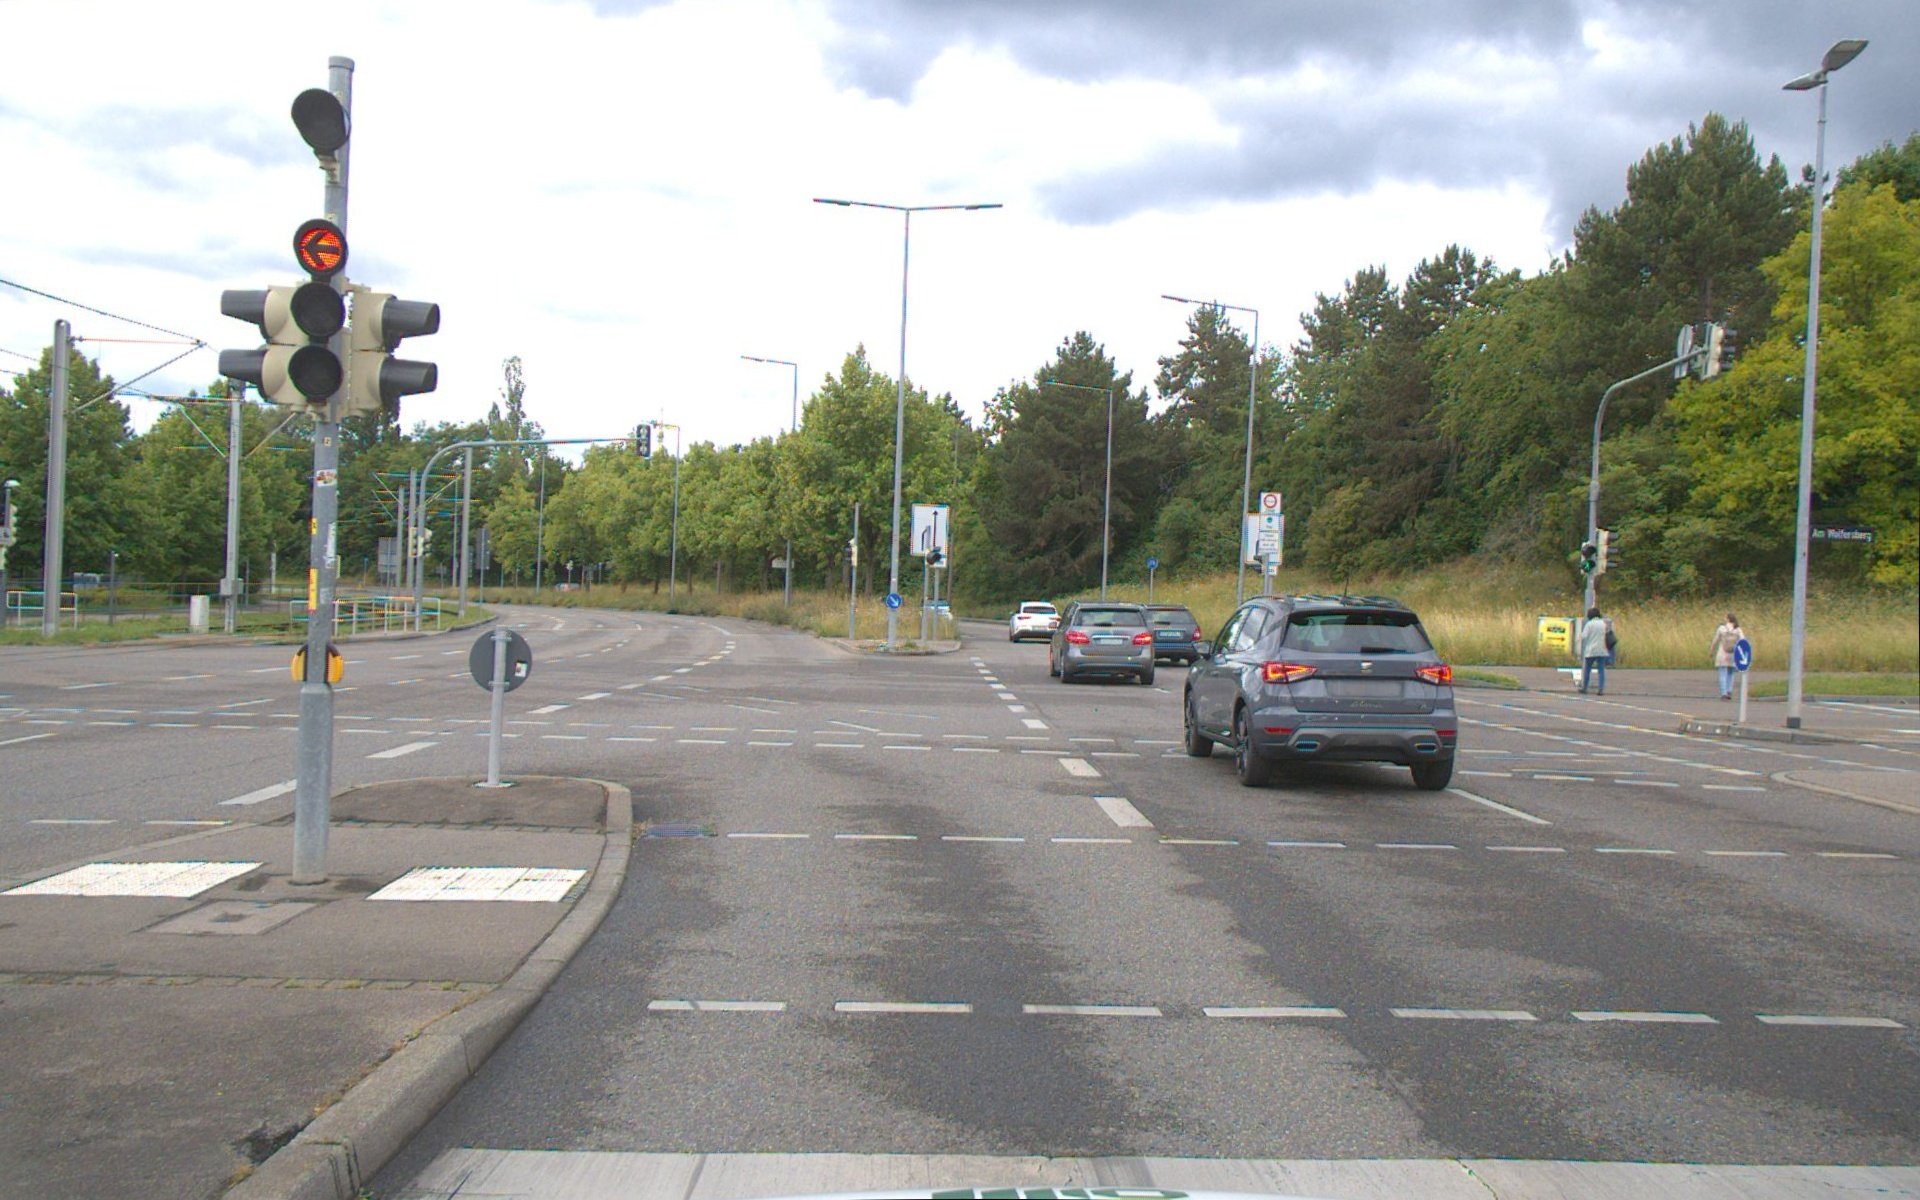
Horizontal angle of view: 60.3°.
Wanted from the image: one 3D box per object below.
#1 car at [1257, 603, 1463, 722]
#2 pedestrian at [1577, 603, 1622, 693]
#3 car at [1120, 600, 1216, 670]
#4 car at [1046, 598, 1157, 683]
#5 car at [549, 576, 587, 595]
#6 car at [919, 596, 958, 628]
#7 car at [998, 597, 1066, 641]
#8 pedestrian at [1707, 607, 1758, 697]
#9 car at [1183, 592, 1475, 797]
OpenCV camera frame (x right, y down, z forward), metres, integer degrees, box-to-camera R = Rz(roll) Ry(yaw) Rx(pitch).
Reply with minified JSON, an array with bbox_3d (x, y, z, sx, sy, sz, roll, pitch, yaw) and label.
[{"bbox_3d":[5.373,0.786,22.756,1.711,1.407,4.290,1,0,-1],"label":"car"},{"bbox_3d":[12.324,0.919,31.893,0.630,1.691,0.714,1,-1,6],"label":"pedestrian"},{"bbox_3d":[4.989,0.808,40.138,1.711,1.511,4.355,1,1,-1],"label":"car"},{"bbox_3d":[2.697,0.736,32.256,1.711,1.534,4.047,1,0,-1],"label":"car"},{"bbox_3d":[-34.748,-1.292,146.388,1.773,1.631,3.832,1,-1,-39],"label":"car"},{"bbox_3d":[-1.111,0.602,84.022,1.563,1.543,2.759,1,0,-10],"label":"car"},{"bbox_3d":[2.583,0.670,59.952,1.809,1.533,4.525,1,0,-6],"label":"car"},{"bbox_3d":[14.383,0.958,30.805,0.630,1.640,0.714,1,-1,5],"label":"pedestrian"},{"bbox_3d":[3.057,0.709,14.458,1.591,1.519,3.836,1,0,-2],"label":"car"}]
